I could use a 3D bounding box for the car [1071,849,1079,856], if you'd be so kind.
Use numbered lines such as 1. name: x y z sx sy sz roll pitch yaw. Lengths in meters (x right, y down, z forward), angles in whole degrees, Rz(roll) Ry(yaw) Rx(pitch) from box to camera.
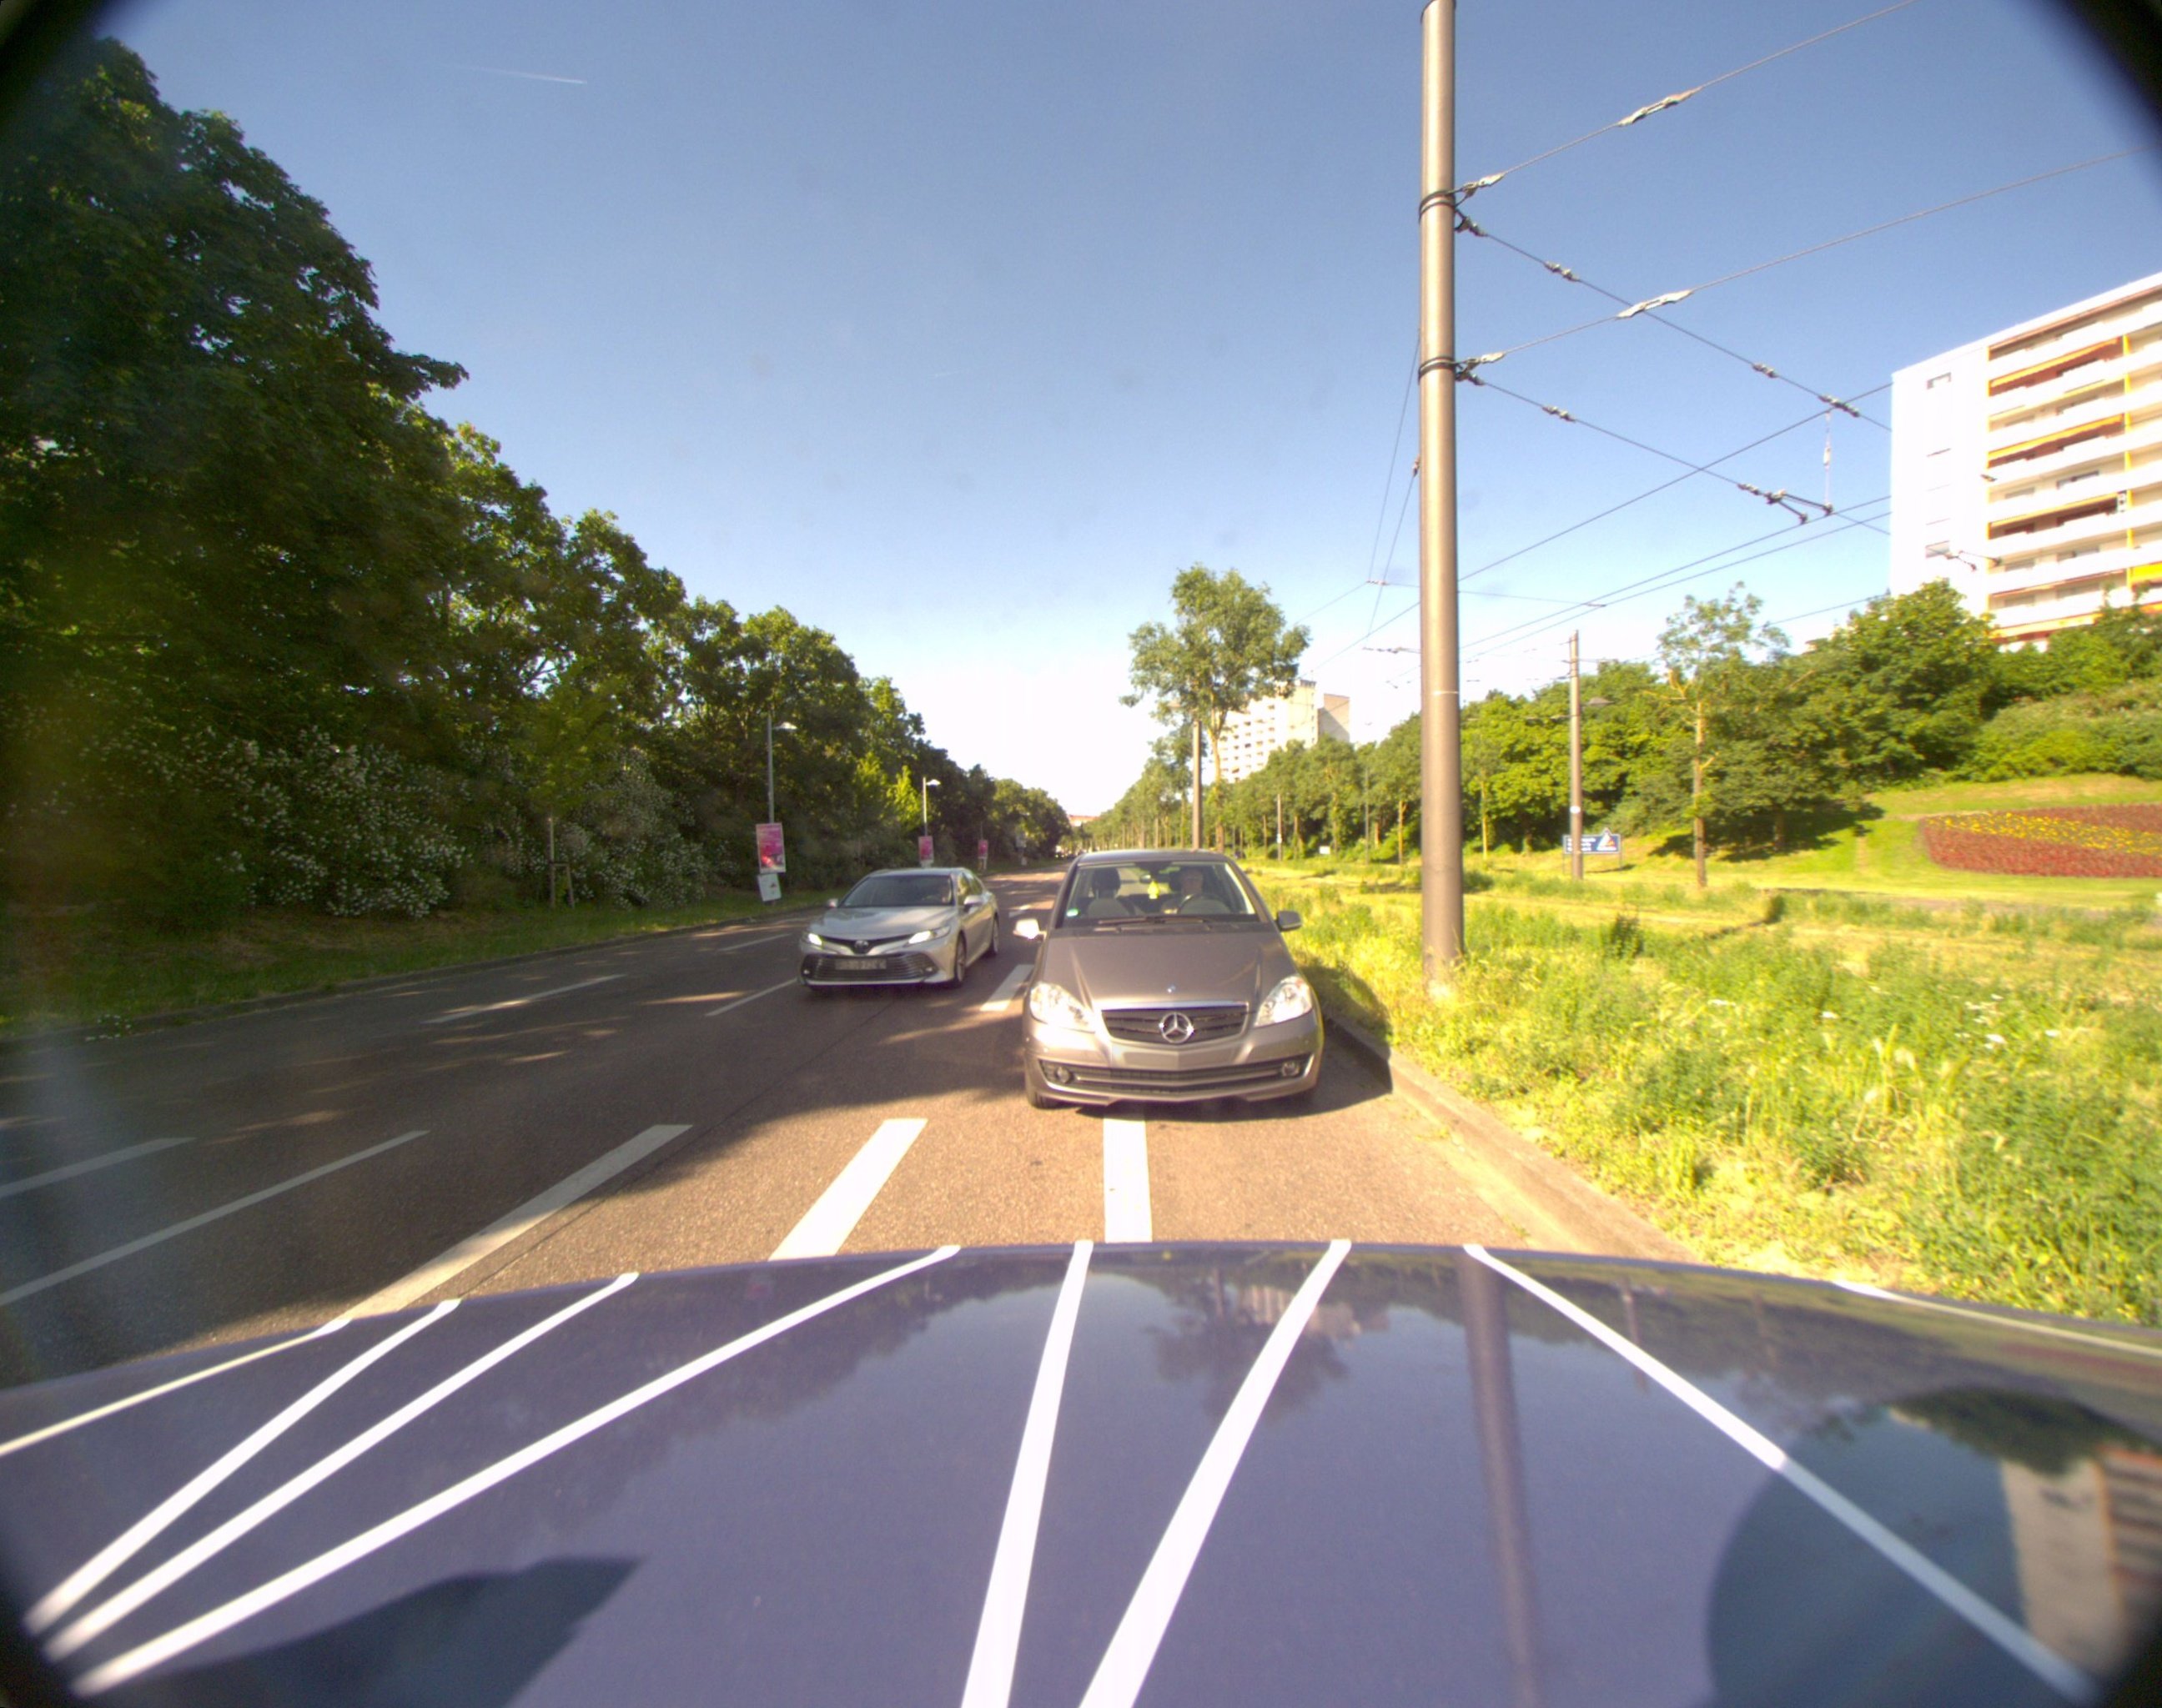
1. car: -1.571 -0.356 191.229 1.998 1.702 4.000 -1 0 1

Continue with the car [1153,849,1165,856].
1. car: 18.675 -0.351 181.856 1.794 1.499 4.237 -1 0 -8

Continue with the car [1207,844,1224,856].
1. car: 21.799 -0.622 123.373 1.998 1.955 4.907 -1 0 1

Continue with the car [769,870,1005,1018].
1. car: -2.295 1.008 10.365 1.876 1.428 4.594 -1 0 2

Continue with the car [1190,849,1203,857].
1. car: 21.546 -0.219 142.116 1.780 1.368 3.999 -1 0 -1

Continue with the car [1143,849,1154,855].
1. car: 15.161 -0.399 171.515 1.800 1.408 4.308 -1 0 -5

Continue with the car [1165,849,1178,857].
1. car: 19.428 -0.201 163.457 1.793 1.499 4.238 -1 0 -5

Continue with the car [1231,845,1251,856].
1. car: 22.522 -0.509 107.167 1.998 1.565 4.106 -1 0 1

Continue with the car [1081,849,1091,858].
1. car: 1.119 -0.127 162.710 1.998 1.702 4.000 -1 0 1

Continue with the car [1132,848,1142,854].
1. car: 15.192 -0.799 206.321 1.801 1.408 4.306 -1 0 -10

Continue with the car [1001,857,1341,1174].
1. car: 0.501 0.855 5.922 1.759 1.612 3.880 -1 0 1
